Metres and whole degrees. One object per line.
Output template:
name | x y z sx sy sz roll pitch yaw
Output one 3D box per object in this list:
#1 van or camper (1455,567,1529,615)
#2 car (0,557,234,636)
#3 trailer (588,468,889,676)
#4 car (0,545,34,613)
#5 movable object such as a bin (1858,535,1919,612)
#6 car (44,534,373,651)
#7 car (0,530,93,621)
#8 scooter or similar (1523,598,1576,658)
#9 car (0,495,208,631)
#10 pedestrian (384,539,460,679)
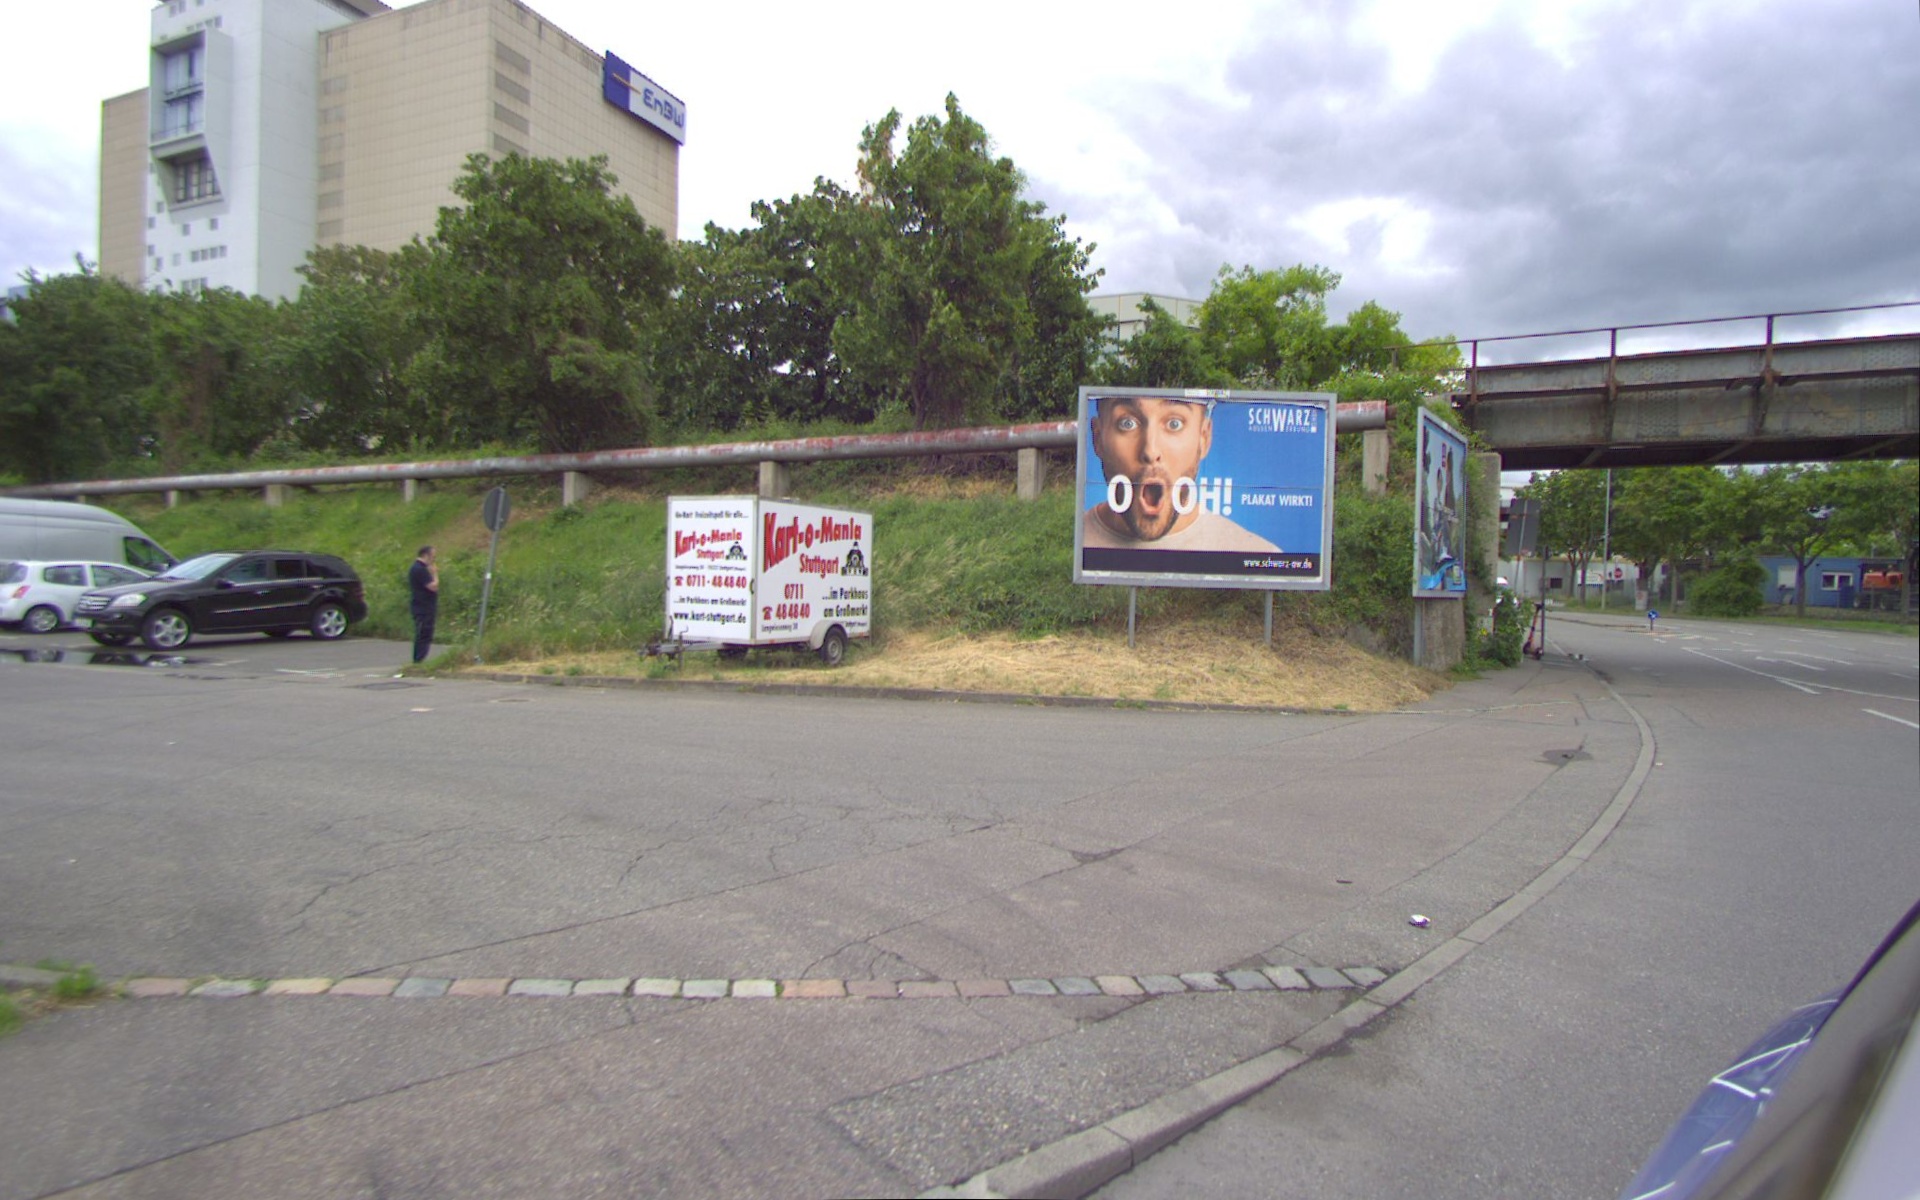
van or camper | 31.014 -0.588 59.241 2.238 2.588 6.087 1 2 12
car | -18.283 -0.102 21.743 1.851 1.527 3.962 1 1 27
trailer | -2.887 -0.356 14.235 1.792 2.427 4.374 1 1 27
car | -26.999 -0.580 26.236 1.980 1.816 3.964 1 0 26
movable object such as a bin | 53.389 -1.412 55.939 2.693 4.142 6.526 2 1 13
car | -13.880 -0.159 19.057 1.979 1.905 4.614 1 1 25
car | -22.971 -0.589 23.433 1.980 2.076 3.964 2 1 26
scooter or similar | 13.355 0.607 22.962 0.498 1.251 1.662 5 2 14
car | -20.419 -0.801 22.368 2.005 2.813 5.845 1 1 27
pedestrian | -7.335 0.115 13.798 0.695 1.843 0.687 1 0 40
